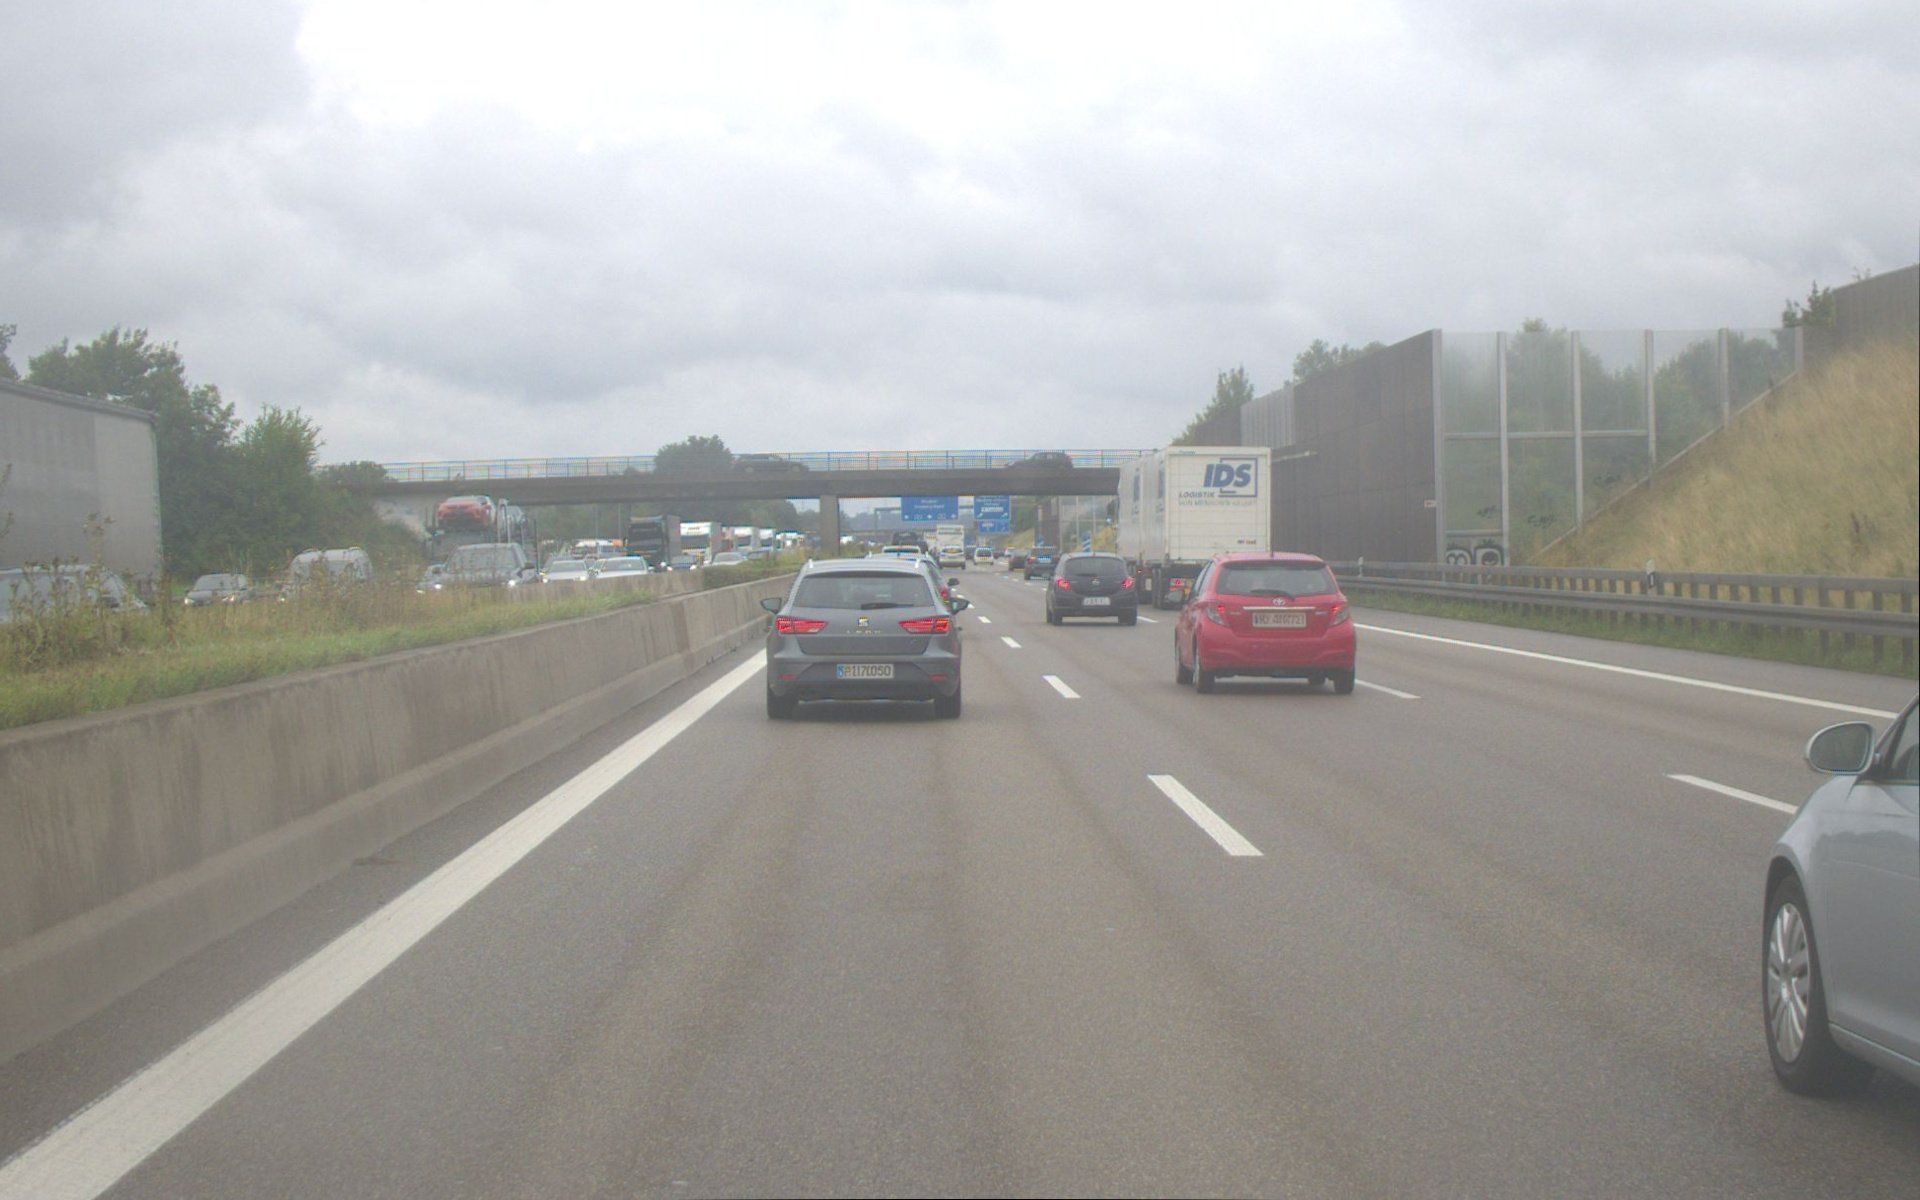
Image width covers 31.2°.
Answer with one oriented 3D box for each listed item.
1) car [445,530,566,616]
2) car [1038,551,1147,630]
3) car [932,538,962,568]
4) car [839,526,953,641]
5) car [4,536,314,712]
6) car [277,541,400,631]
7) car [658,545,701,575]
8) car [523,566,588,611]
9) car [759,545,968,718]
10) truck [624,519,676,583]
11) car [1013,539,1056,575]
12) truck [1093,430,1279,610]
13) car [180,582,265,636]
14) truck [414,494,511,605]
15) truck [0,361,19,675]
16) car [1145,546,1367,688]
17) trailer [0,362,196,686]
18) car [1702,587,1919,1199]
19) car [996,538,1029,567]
[{"bbox_3d":[-9.800,-0.605,74.464,1.993,1.758,5.072,-1,1,-1],"label":"car"},{"bbox_3d":[2.651,-0.226,69.753,1.921,1.516,4.623,0,1,-1],"label":"car"},{"bbox_3d":[-0.882,-3.220,235.570,1.993,2.007,4.242,1,0,-1],"label":"car"},{"bbox_3d":[-1.088,-0.305,58.322,1.825,1.844,4.000,-1,1,-1],"label":"car"},{"bbox_3d":[-8.247,0.192,35.866,2.093,1.704,4.800,0,1,0],"label":"car"},{"bbox_3d":[-13.965,-0.358,77.539,1.883,1.918,5.278,-1,1,-1],"label":"car"},{"bbox_3d":[-16.354,-2.339,200.686,2.093,1.704,4.800,0,1,0],"label":"car"},{"bbox_3d":[-15.950,-0.479,135.785,2.093,1.704,5.166,0,1,-2],"label":"car"},{"bbox_3d":[-0.877,0.255,31.483,1.768,1.462,4.000,1,0,-1],"label":"car"},{"bbox_3d":[-19.861,-3.123,220.364,2.757,4.036,6.255,1,0,-1],"label":"truck"},{"bbox_3d":[3.580,-2.069,165.571,1.845,1.681,4.000,1,0,-2],"label":"car"},{"bbox_3d":[5.813,-2.007,92.368,3.283,4.280,19.034,1,0,-1],"label":"truck"},{"bbox_3d":[-22.510,0.264,105.055,1.884,1.590,4.000,1,0,-3],"label":"car"},{"bbox_3d":[-19.523,-1.955,135.249,2.956,4.227,6.235,1,0,-1],"label":"truck"},{"bbox_3d":[-13.636,-1.037,40.995,3.092,3.962,6.372,1,0,-1],"label":"truck"},{"bbox_3d":[3.176,0.140,37.803,1.891,1.442,4.685,0,1,-2],"label":"car"},{"bbox_3d":[-13.686,-1.023,48.642,3.086,4.075,12.330,1,0,-1],"label":"trailer"},{"bbox_3d":[3.126,0.703,7.965,1.742,1.420,4.517,-1,1,-1],"label":"car"},{"bbox_3d":[3.442,-3.148,225.720,1.993,1.806,4.228,-2,1,-1],"label":"car"}]
